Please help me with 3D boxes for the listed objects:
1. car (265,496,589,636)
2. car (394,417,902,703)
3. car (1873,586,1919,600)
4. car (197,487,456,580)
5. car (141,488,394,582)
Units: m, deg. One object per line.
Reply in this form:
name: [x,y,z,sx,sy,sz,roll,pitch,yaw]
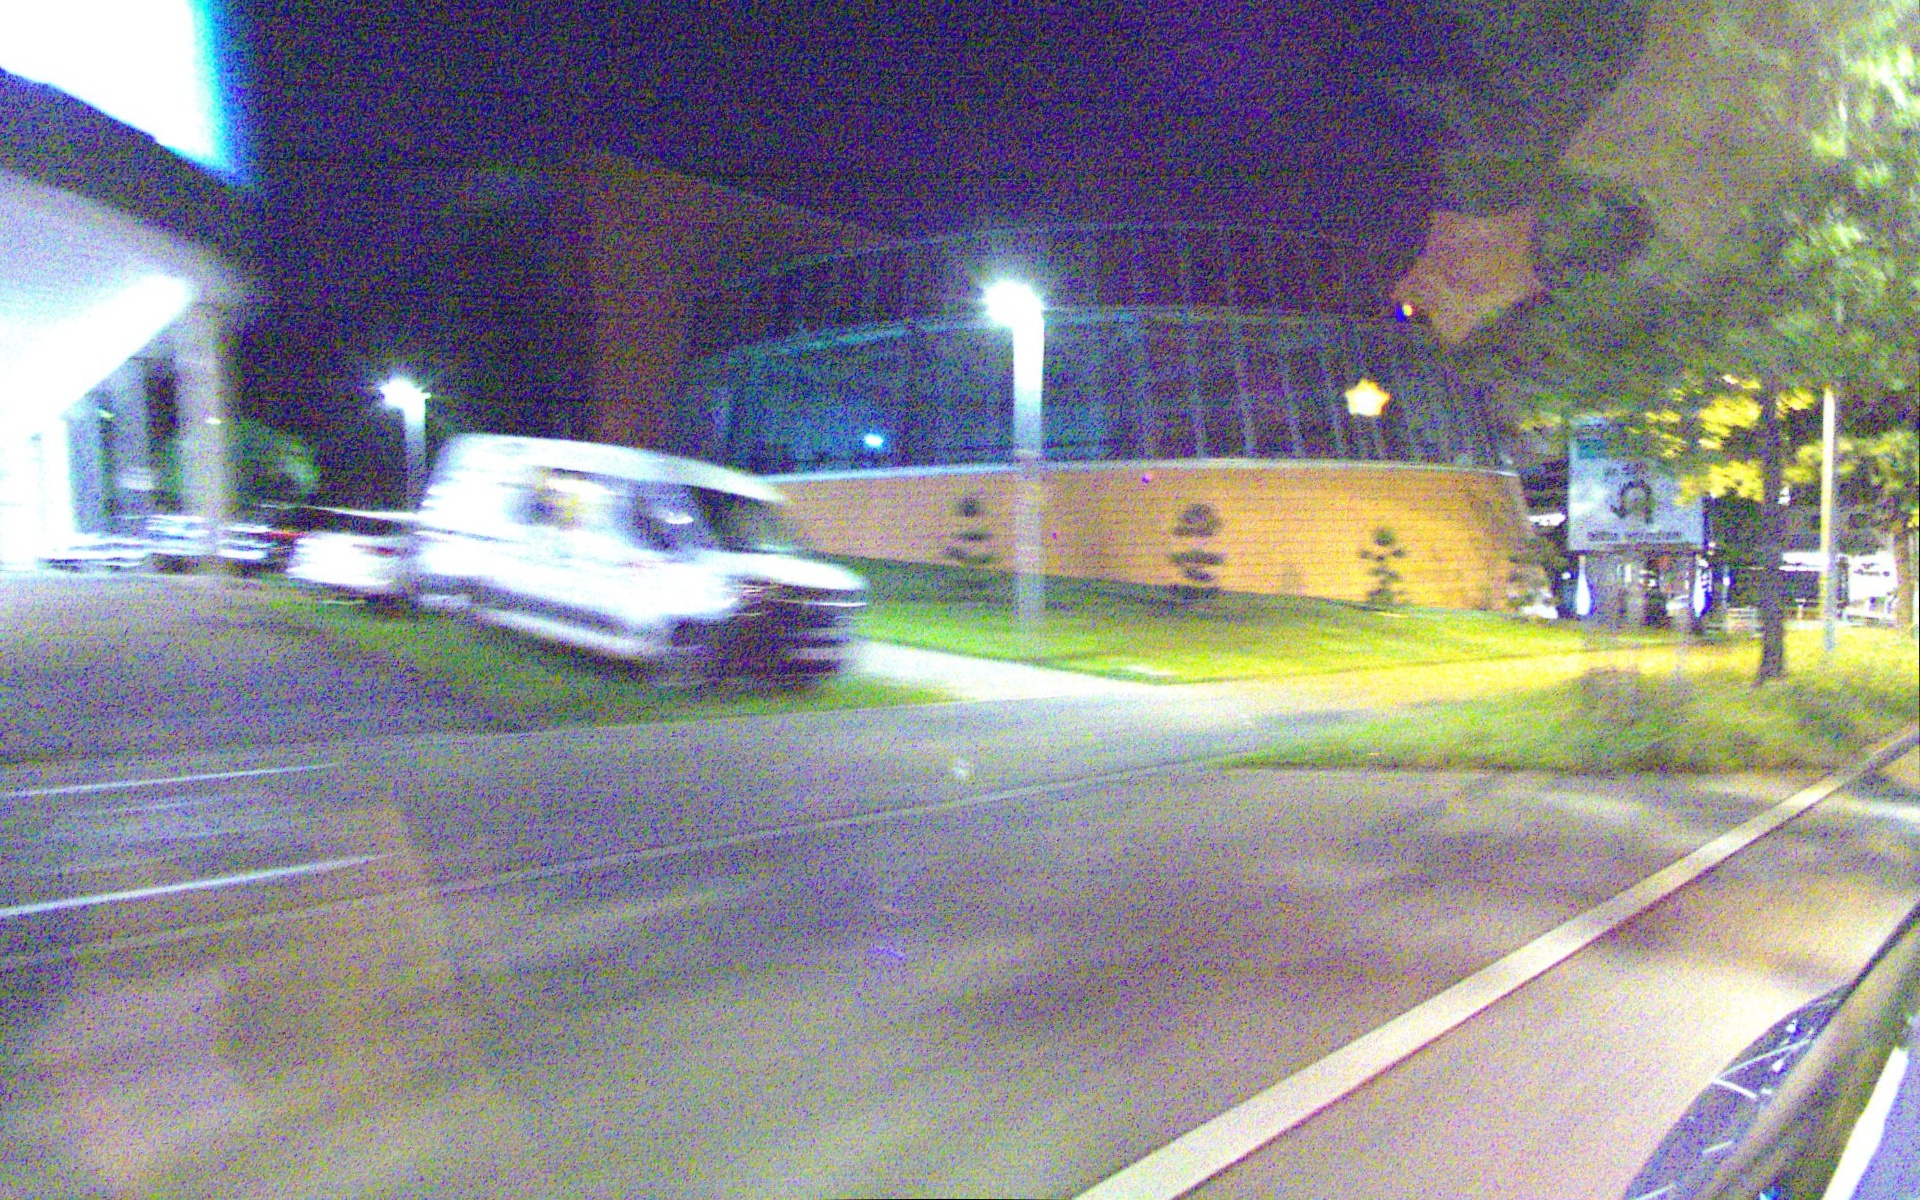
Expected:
car: [-7.645,-0.521,14.919,1.793,1.732,3.933,4,3,26]
car: [-3.827,-0.665,11.821,5.996,2.559,2.257,7,4,32]
car: [80.159,-0.592,85.712,3.934,1.047,1.481,2,1,9]
car: [-12.111,-1.230,19.626,1.782,1.597,3.933,3,3,26]
car: [-14.090,-1.293,20.829,1.766,1.620,3.933,7,4,26]
